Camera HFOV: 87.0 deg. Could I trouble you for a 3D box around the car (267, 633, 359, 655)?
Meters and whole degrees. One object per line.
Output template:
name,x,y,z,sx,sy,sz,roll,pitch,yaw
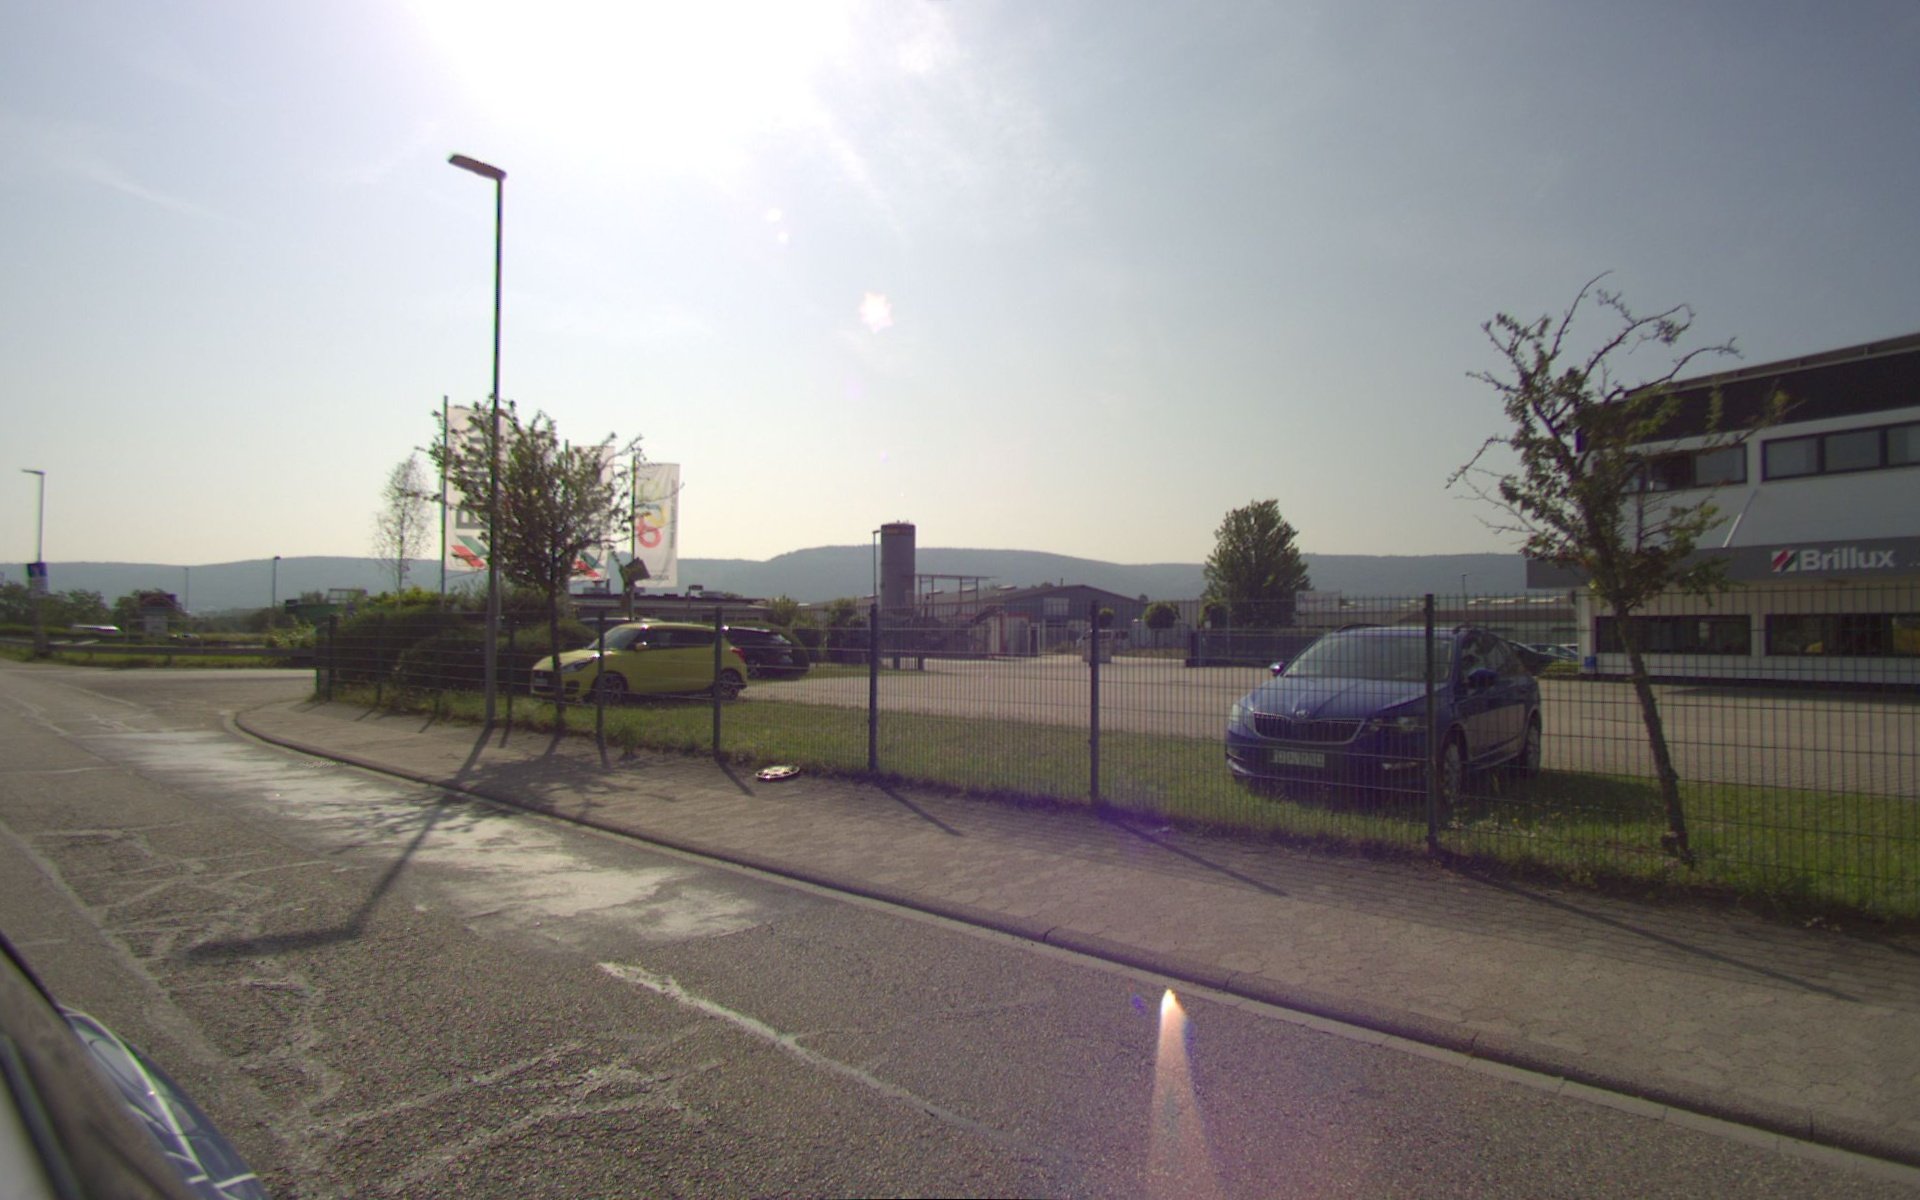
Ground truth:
car,-39.594,2.717,62.042,4.616,1.228,1.836,3,-5,-30

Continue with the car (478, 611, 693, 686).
car,-8.950,1.136,24.401,4.454,1.708,1.955,0,0,5

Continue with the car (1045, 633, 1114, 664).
car,6.924,2.788,58.898,1.826,1.763,4.010,2,-3,-34

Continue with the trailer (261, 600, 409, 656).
trailer,-32.063,1.488,51.975,6.222,2.625,2.861,3,-4,-35

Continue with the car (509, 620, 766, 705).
car,-5.790,1.098,18.555,1.868,1.379,4.120,-1,-3,41

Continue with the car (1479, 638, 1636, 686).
car,23.392,2.394,39.734,5.058,1.715,1.973,-1,-3,41

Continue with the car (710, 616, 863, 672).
car,-5.781,1.459,33.798,4.584,1.765,2.158,2,-2,-28

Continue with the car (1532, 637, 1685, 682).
car,26.346,2.386,41.230,5.058,1.715,1.973,-1,-3,41

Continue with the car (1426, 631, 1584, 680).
car,20.637,2.076,38.450,5.055,1.715,1.974,-1,-3,38

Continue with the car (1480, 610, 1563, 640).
car,33.264,1.484,60.021,3.998,1.719,1.767,-1,-3,41

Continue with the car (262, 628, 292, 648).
car,-70.644,3.897,104.655,1.969,2.029,4.163,4,-4,-41

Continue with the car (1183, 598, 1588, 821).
car,4.035,0.862,9.081,2.076,1.455,4.638,-1,-4,40

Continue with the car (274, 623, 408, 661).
car,-29.972,2.052,49.105,5.198,1.719,2.002,4,-4,-43
